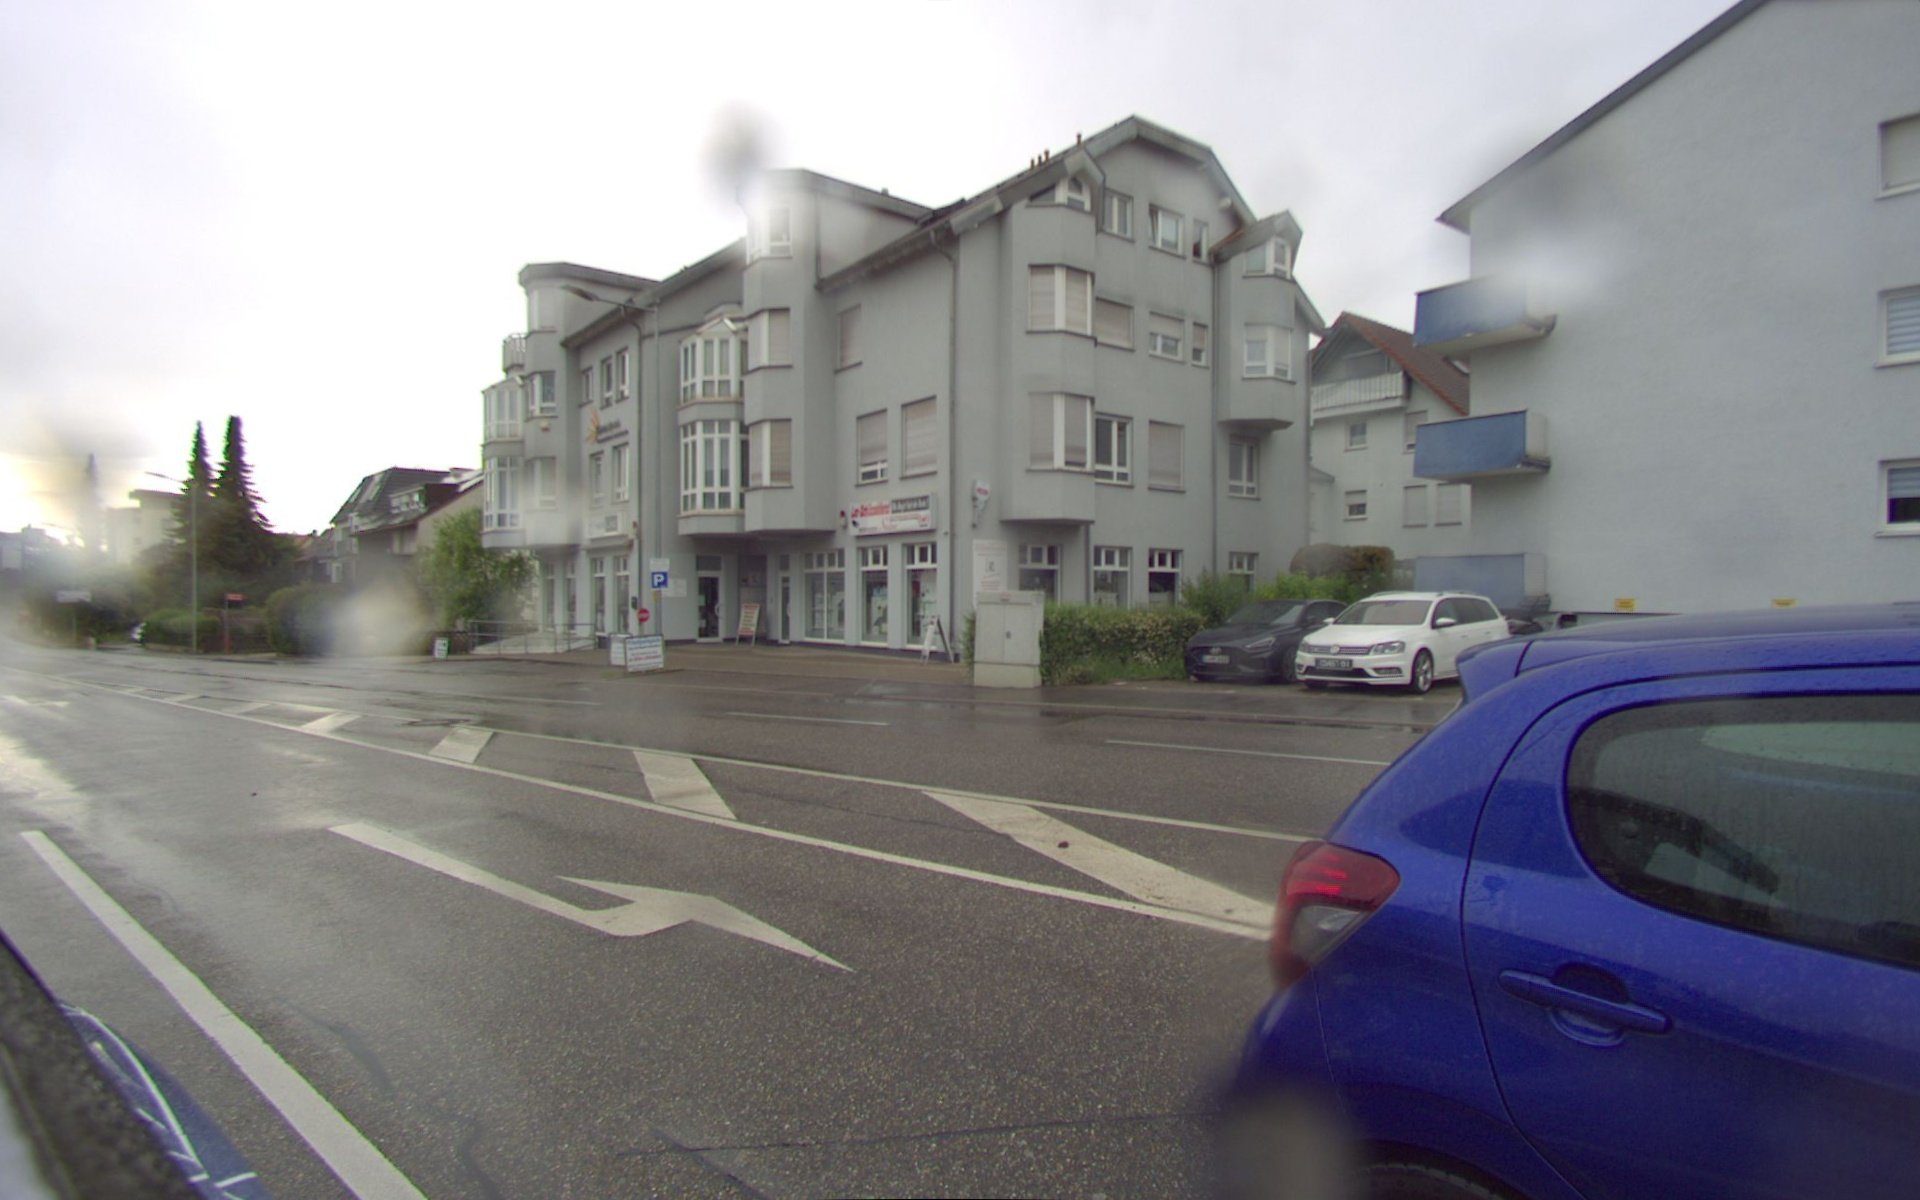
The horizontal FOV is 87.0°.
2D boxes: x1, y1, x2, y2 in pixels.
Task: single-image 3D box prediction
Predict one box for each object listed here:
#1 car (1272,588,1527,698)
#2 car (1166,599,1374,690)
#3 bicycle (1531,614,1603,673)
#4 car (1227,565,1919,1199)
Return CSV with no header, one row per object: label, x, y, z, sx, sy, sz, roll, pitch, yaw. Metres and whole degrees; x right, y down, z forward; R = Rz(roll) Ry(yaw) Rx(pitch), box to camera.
car,6.975,0.607,15.823,4.685,1.471,1.883,0,-2,-42
car,5.487,0.692,17.668,1.851,1.366,3.941,-1,0,45
bicycle,11.137,0.796,18.579,1.065,1.061,0.343,-2,-1,41
car,2.228,0.642,1.216,3.362,1.423,1.489,-2,-1,41
